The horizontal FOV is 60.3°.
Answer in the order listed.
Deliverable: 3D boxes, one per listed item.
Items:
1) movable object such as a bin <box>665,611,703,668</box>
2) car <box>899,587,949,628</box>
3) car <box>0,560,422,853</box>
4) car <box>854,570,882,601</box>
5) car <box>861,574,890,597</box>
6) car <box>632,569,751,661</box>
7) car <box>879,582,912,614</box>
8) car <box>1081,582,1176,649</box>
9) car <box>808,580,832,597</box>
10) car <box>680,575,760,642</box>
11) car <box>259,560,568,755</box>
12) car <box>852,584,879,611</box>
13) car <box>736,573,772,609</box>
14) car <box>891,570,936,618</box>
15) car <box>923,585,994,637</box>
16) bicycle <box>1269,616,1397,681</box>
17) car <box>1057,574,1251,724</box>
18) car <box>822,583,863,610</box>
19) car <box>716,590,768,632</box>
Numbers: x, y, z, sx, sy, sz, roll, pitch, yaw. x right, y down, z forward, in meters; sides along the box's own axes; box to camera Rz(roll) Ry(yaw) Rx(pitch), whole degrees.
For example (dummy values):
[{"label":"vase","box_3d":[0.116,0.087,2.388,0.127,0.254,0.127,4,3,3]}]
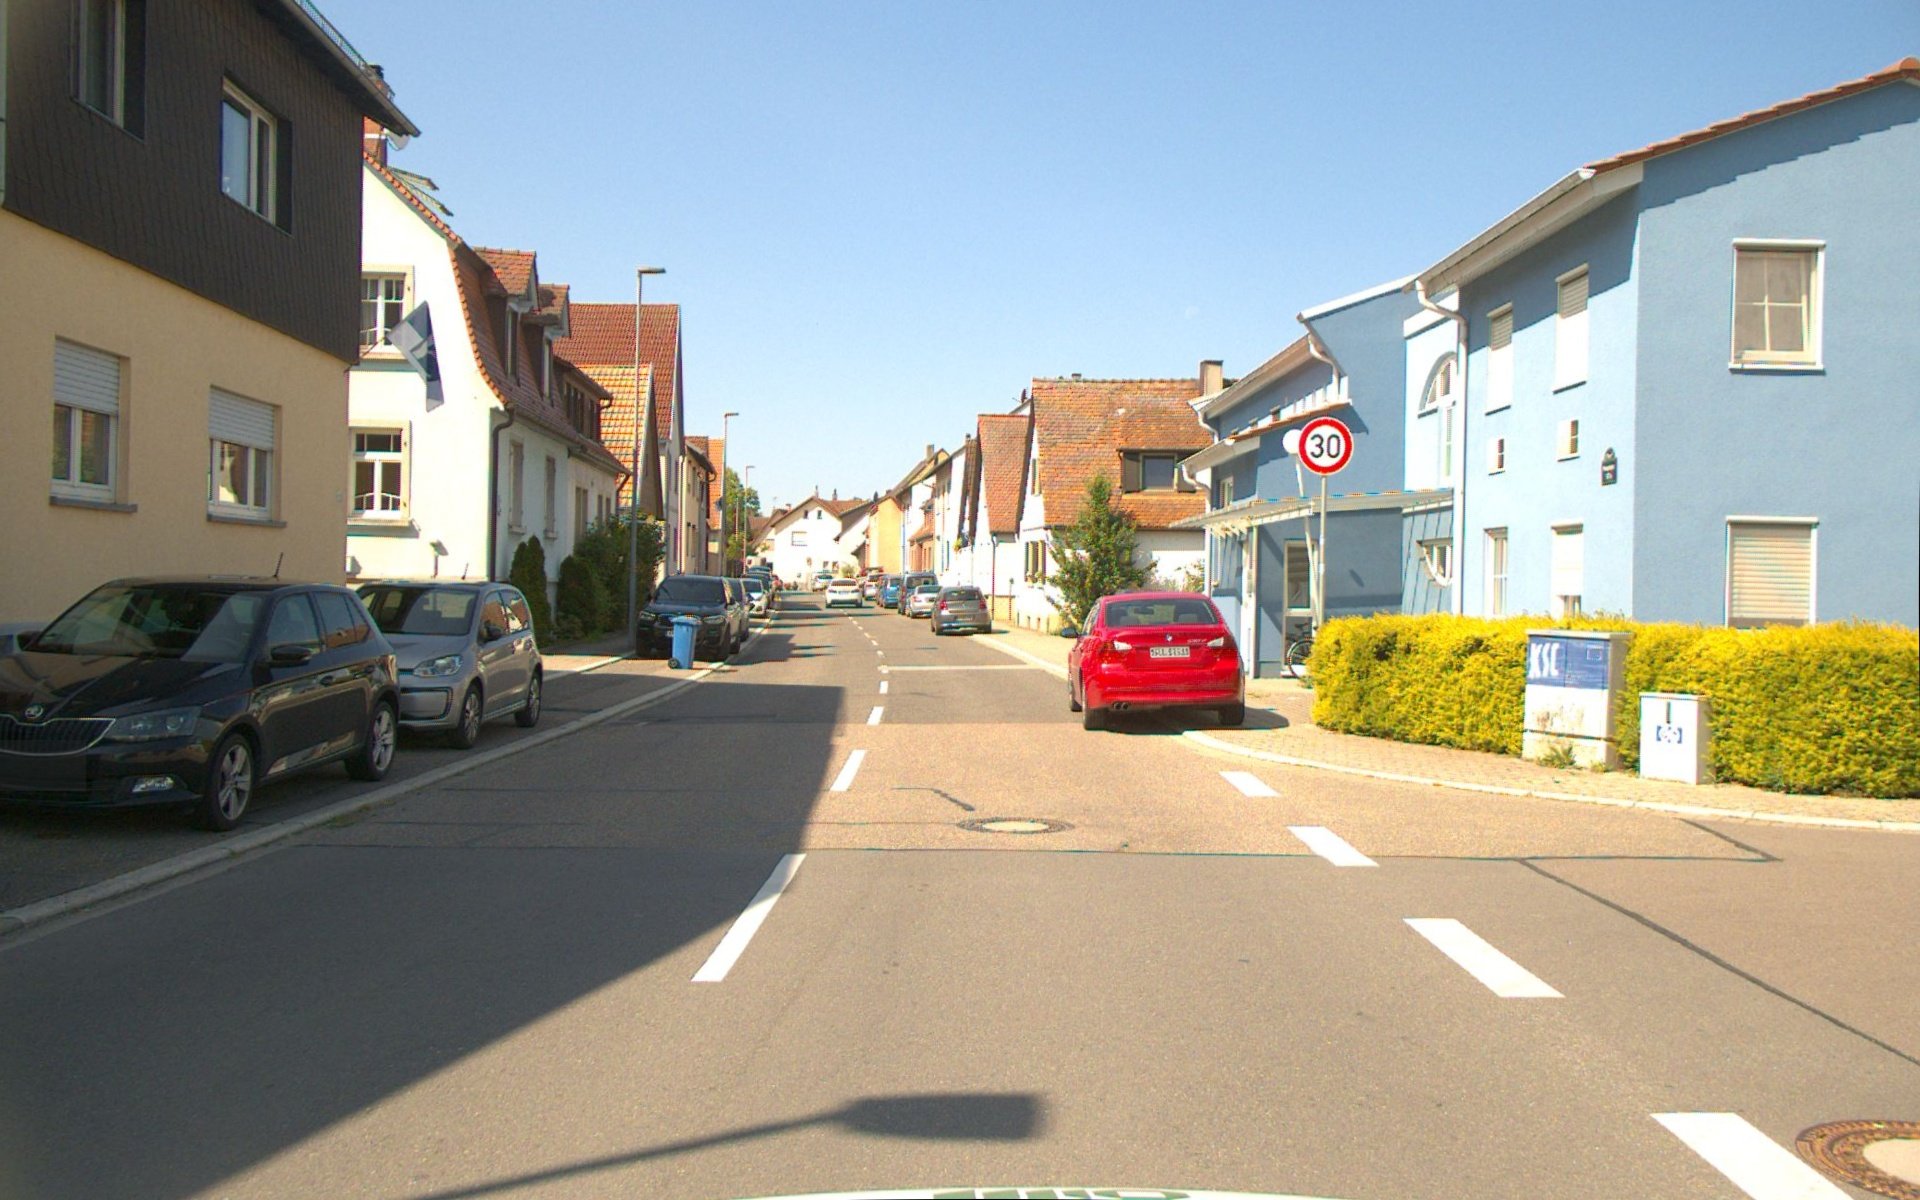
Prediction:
[{"label":"movable object such as a bin","box_3d":[-5.057,0.722,30.334,0.585,0.999,0.530,3,0,-4]},{"label":"car","box_3d":[-1.489,0.278,67.075,1.672,1.523,3.447,2,0,-6]},{"label":"car","box_3d":[-5.043,0.556,10.813,1.644,1.462,3.995,5,0,0]},{"label":"car","box_3d":[-6.343,-0.992,113.776,1.732,2.039,3.446,1,0,-5]},{"label":"car","box_3d":[-5.576,-0.922,108.795,1.732,1.458,3.446,1,0,-5]},{"label":"car","box_3d":[-5.592,0.301,35.009,1.882,1.696,4.662,4,0,-3]},{"label":"car","box_3d":[-3.247,-0.105,83.115,1.393,1.541,3.299,2,0,-6]},{"label":"car","box_3d":[3.926,0.359,39.154,1.656,1.445,4.144,2,0,-2]},{"label":"car","box_3d":[-11.812,-0.969,139.229,1.955,1.311,3.799,1,0,-6]},{"label":"car","box_3d":[-6.584,0.210,45.765,1.836,1.665,4.659,2,0,-5]},{"label":"car","box_3d":[-5.084,0.490,15.930,1.607,1.527,3.781,5,0,0]},{"label":"car","box_3d":[-5.770,-0.175,100.624,1.393,1.541,3.299,2,0,-6]},{"label":"car","box_3d":[-9.933,-0.441,80.028,1.588,1.605,3.956,2,0,-6]},{"label":"car","box_3d":[-2.058,-0.262,72.088,1.618,1.943,3.621,2,0,-6]},{"label":"car","box_3d":[-0.081,0.316,50.372,1.672,1.458,3.884,3,0,-6]},{"label":"bicycle","box_3d":[5.996,0.776,26.659,1.914,0.998,0.656,1,0,0]},{"label":"car","box_3d":[2.092,0.550,18.942,1.697,1.521,4.354,0,-2,0]},{"label":"car","box_3d":[-6.035,-0.168,84.451,1.955,1.311,3.995,1,0,-6]},{"label":"car","box_3d":[-8.722,0.407,66.474,1.771,1.574,4.399,2,0,-5]}]
